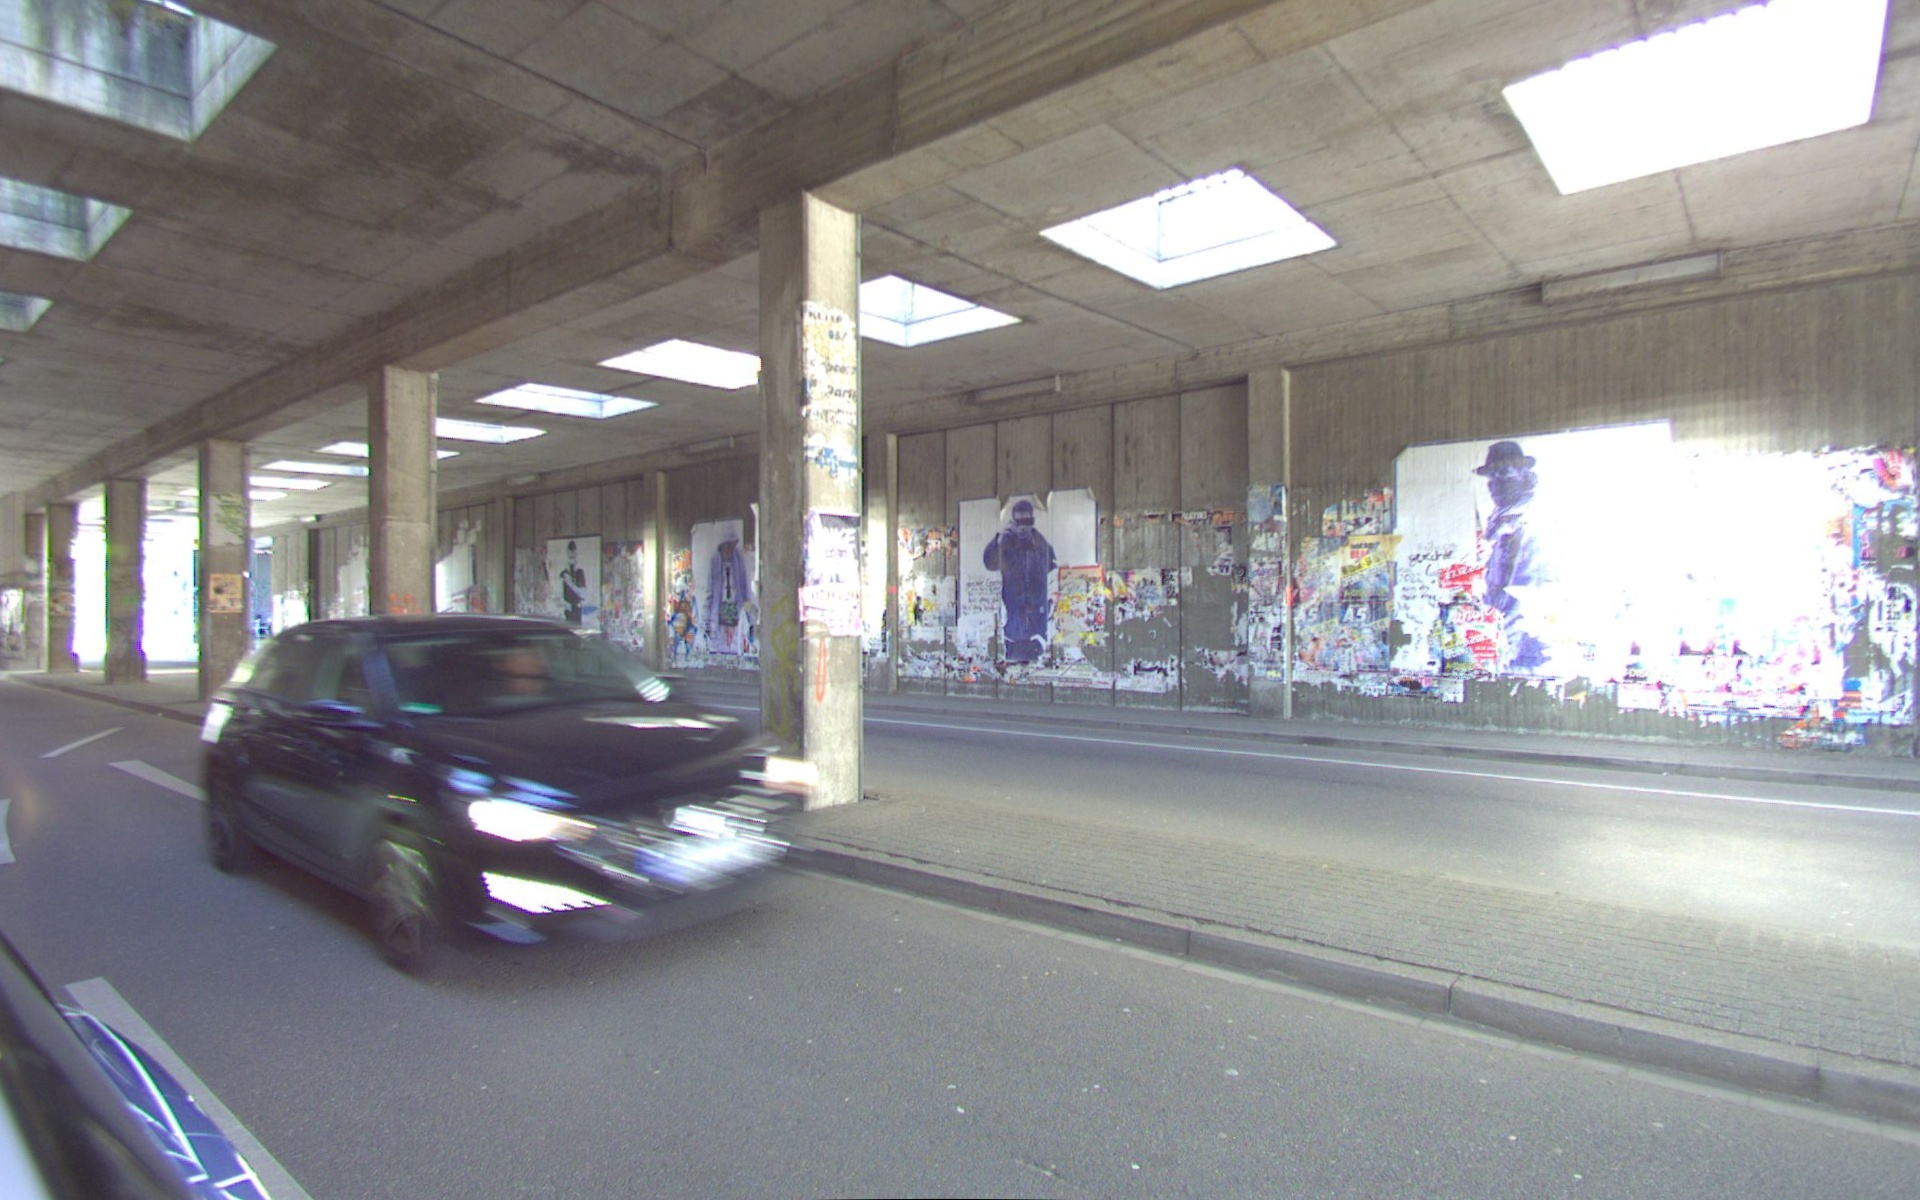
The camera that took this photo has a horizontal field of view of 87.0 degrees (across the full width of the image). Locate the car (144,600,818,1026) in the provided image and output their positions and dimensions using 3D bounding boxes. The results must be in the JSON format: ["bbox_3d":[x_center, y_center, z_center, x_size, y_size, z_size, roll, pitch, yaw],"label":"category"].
[{"bbox_3d":[-2.855,0.781,5.560,4.175,1.458,1.762,-1,0,40],"label":"car"}]
